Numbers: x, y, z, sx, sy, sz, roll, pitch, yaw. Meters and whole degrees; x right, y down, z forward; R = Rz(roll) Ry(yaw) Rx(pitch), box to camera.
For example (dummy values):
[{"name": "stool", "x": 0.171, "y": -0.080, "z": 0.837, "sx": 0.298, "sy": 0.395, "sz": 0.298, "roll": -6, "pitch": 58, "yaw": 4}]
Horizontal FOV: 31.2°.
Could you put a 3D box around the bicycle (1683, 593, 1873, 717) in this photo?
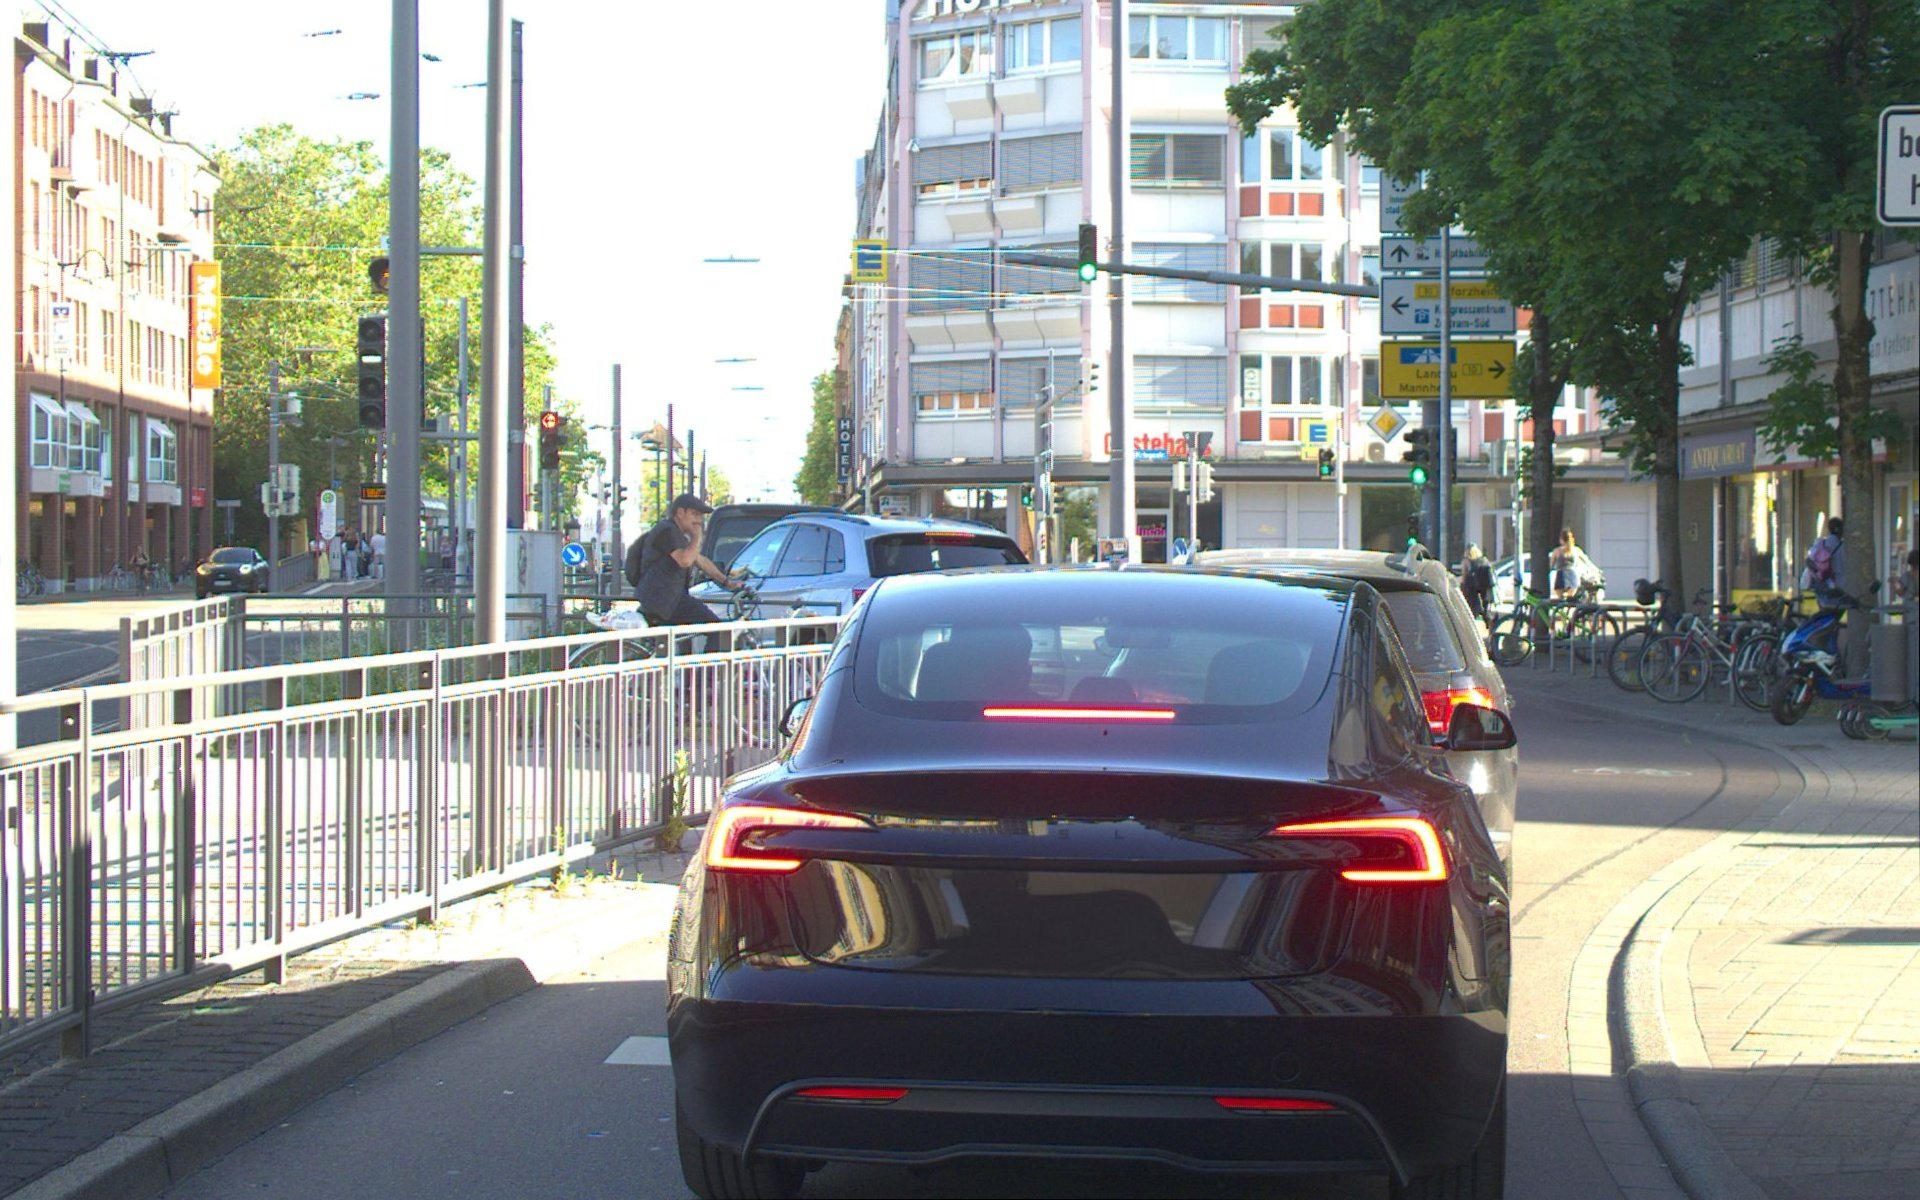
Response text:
[{"name": "bicycle", "x": 7.384, "y": 0.494, "z": 31.025, "sx": 1.649, "sy": 1.095, "sz": 0.350, "roll": 1, "pitch": 0, "yaw": -10}]

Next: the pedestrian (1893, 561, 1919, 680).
[{"name": "pedestrian", "x": 10.901, "y": 0.231, "z": 39.177, "sx": 0.389, "sy": 1.339, "sz": 0.513, "roll": 1, "pitch": 0, "yaw": 2}]

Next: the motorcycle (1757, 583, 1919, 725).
[{"name": "motorcycle", "x": 7.714, "y": 0.460, "z": 29.261, "sx": 1.707, "sy": 1.169, "sz": 0.541, "roll": 1, "pitch": 0, "yaw": -2}]

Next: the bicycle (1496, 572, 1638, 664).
[{"name": "bicycle", "x": 7.299, "y": 0.210, "z": 41.384, "sx": 1.650, "sy": 1.095, "sz": 0.350, "roll": 0, "pitch": 1, "yaw": 1}]

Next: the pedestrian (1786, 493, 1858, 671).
[{"name": "pedestrian", "x": 9.856, "y": -0.205, "z": 39.342, "sx": 0.662, "sy": 2.007, "sz": 0.579, "roll": 1, "pitch": 0, "yaw": 2}]

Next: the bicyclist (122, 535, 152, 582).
[{"name": "bicyclist", "x": -27.524, "y": -1.383, "z": 114.962, "sx": 0.784, "sy": 1.558, "sz": 0.746, "roll": 1, "pitch": 0, "yaw": 2}]

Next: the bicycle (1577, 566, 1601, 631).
[{"name": "bicycle", "x": 10.169, "y": -0.032, "z": 55.630, "sx": 0.332, "sy": 1.030, "sz": 1.256, "roll": 1, "pitch": 0, "yaw": 9}]

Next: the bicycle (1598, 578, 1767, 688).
[{"name": "bicycle", "x": 7.419, "y": 0.338, "z": 35.346, "sx": 1.650, "sy": 1.095, "sz": 0.350, "roll": 1, "pitch": 0, "yaw": 1}]

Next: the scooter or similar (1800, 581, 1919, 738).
[{"name": "scooter or similar", "x": 7.558, "y": 0.470, "z": 27.187, "sx": 1.644, "sy": 1.211, "sz": 0.644, "roll": 1, "pitch": 0, "yaw": 30}]

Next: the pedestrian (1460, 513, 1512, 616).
[{"name": "pedestrian", "x": 8.541, "y": -0.571, "z": 55.838, "sx": 0.699, "sy": 1.656, "sz": 0.777, "roll": 1, "pitch": 0, "yaw": -1}]

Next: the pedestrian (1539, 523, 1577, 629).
[{"name": "pedestrian", "x": 9.736, "y": -0.388, "z": 55.961, "sx": 0.526, "sy": 1.704, "sz": 0.403, "roll": 1, "pitch": 0, "yaw": 1}]

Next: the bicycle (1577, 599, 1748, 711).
[{"name": "bicycle", "x": 7.021, "y": 0.547, "z": 34.354, "sx": 1.649, "sy": 1.095, "sz": 0.350, "roll": 1, "pitch": 0, "yaw": -10}]

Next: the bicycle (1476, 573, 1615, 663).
[{"name": "bicycle", "x": 7.232, "y": 0.220, "z": 42.478, "sx": 1.650, "sy": 1.095, "sz": 0.350, "roll": 1, "pitch": 0, "yaw": 1}]

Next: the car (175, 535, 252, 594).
[{"name": "car", "x": -22.787, "y": -1.087, "z": 105.038, "sx": 1.697, "sy": 1.725, "sz": 3.707, "roll": 1, "pitch": 1, "yaw": -3}]

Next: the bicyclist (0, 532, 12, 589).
[{"name": "bicyclist", "x": -26.335, "y": -1.080, "z": 93.664, "sx": 0.784, "sy": 1.558, "sz": 0.746, "roll": 0, "pitch": 1, "yaw": 2}]

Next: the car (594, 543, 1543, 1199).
[{"name": "car", "x": 0.354, "y": 0.608, "z": 8.685, "sx": 1.829, "sy": 1.450, "sz": 3.999, "roll": 1, "pitch": 1, "yaw": 4}]

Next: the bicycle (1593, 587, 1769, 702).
[{"name": "bicycle", "x": 7.000, "y": 0.431, "z": 33.398, "sx": 1.649, "sy": 1.095, "sz": 0.350, "roll": 1, "pitch": 0, "yaw": -10}]

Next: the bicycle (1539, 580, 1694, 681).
[{"name": "bicycle", "x": 7.310, "y": 0.341, "z": 38.298, "sx": 1.650, "sy": 1.095, "sz": 0.350, "roll": 1, "pitch": 0, "yaw": 1}]

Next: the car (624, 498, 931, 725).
[{"name": "car", "x": -1.805, "y": 0.075, "z": 32.630, "sx": 1.993, "sy": 2.007, "sz": 4.001, "roll": 0, "pitch": 1, "yaw": -17}]

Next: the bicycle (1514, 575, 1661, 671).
[{"name": "bicycle", "x": 7.362, "y": 0.267, "z": 40.338, "sx": 1.650, "sy": 1.095, "sz": 0.350, "roll": 1, "pitch": 0, "yaw": 1}]

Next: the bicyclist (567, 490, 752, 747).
[{"name": "bicyclist", "x": -1.952, "y": 0.110, "z": 22.261, "sx": 0.758, "sy": 1.623, "sz": 0.978, "roll": 0, "pitch": 1, "yaw": -39}]

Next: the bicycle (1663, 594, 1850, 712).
[{"name": "bicycle", "x": 7.287, "y": 0.487, "z": 31.447, "sx": 1.649, "sy": 1.057, "sz": 0.350, "roll": 1, "pitch": 0, "yaw": -10}]

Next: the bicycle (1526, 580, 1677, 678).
[{"name": "bicycle", "x": 7.330, "y": 0.328, "z": 39.325, "sx": 1.650, "sy": 1.095, "sz": 0.350, "roll": 1, "pitch": 0, "yaw": 1}]

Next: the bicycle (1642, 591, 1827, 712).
[{"name": "bicycle", "x": 7.182, "y": 0.474, "z": 31.870, "sx": 1.649, "sy": 1.095, "sz": 0.350, "roll": 1, "pitch": 0, "yaw": -10}]

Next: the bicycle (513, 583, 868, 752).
[{"name": "bicycle", "x": -1.736, "y": 0.424, "z": 22.432, "sx": 2.329, "sy": 1.050, "sz": 0.631, "roll": 0, "pitch": 1, "yaw": -38}]

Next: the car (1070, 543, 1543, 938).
[{"name": "car", "x": 1.503, "y": 0.492, "z": 14.936, "sx": 1.751, "sy": 1.449, "sz": 3.999, "roll": 1, "pitch": 1, "yaw": 6}]

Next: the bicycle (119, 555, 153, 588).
[{"name": "bicycle", "x": -27.520, "y": -0.956, "z": 114.873, "sx": 0.529, "sy": 1.085, "sz": 2.224, "roll": 1, "pitch": 1, "yaw": 1}]

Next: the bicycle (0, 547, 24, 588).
[{"name": "bicycle", "x": -26.260, "y": -0.901, "z": 94.277, "sx": 0.529, "sy": 1.085, "sz": 2.225, "roll": 0, "pitch": 1, "yaw": 1}]

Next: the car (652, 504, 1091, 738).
[{"name": "car", "x": -0.783, "y": 0.128, "z": 26.597, "sx": 1.883, "sy": 1.656, "sz": 4.159, "roll": 1, "pitch": 1, "yaw": -25}]
